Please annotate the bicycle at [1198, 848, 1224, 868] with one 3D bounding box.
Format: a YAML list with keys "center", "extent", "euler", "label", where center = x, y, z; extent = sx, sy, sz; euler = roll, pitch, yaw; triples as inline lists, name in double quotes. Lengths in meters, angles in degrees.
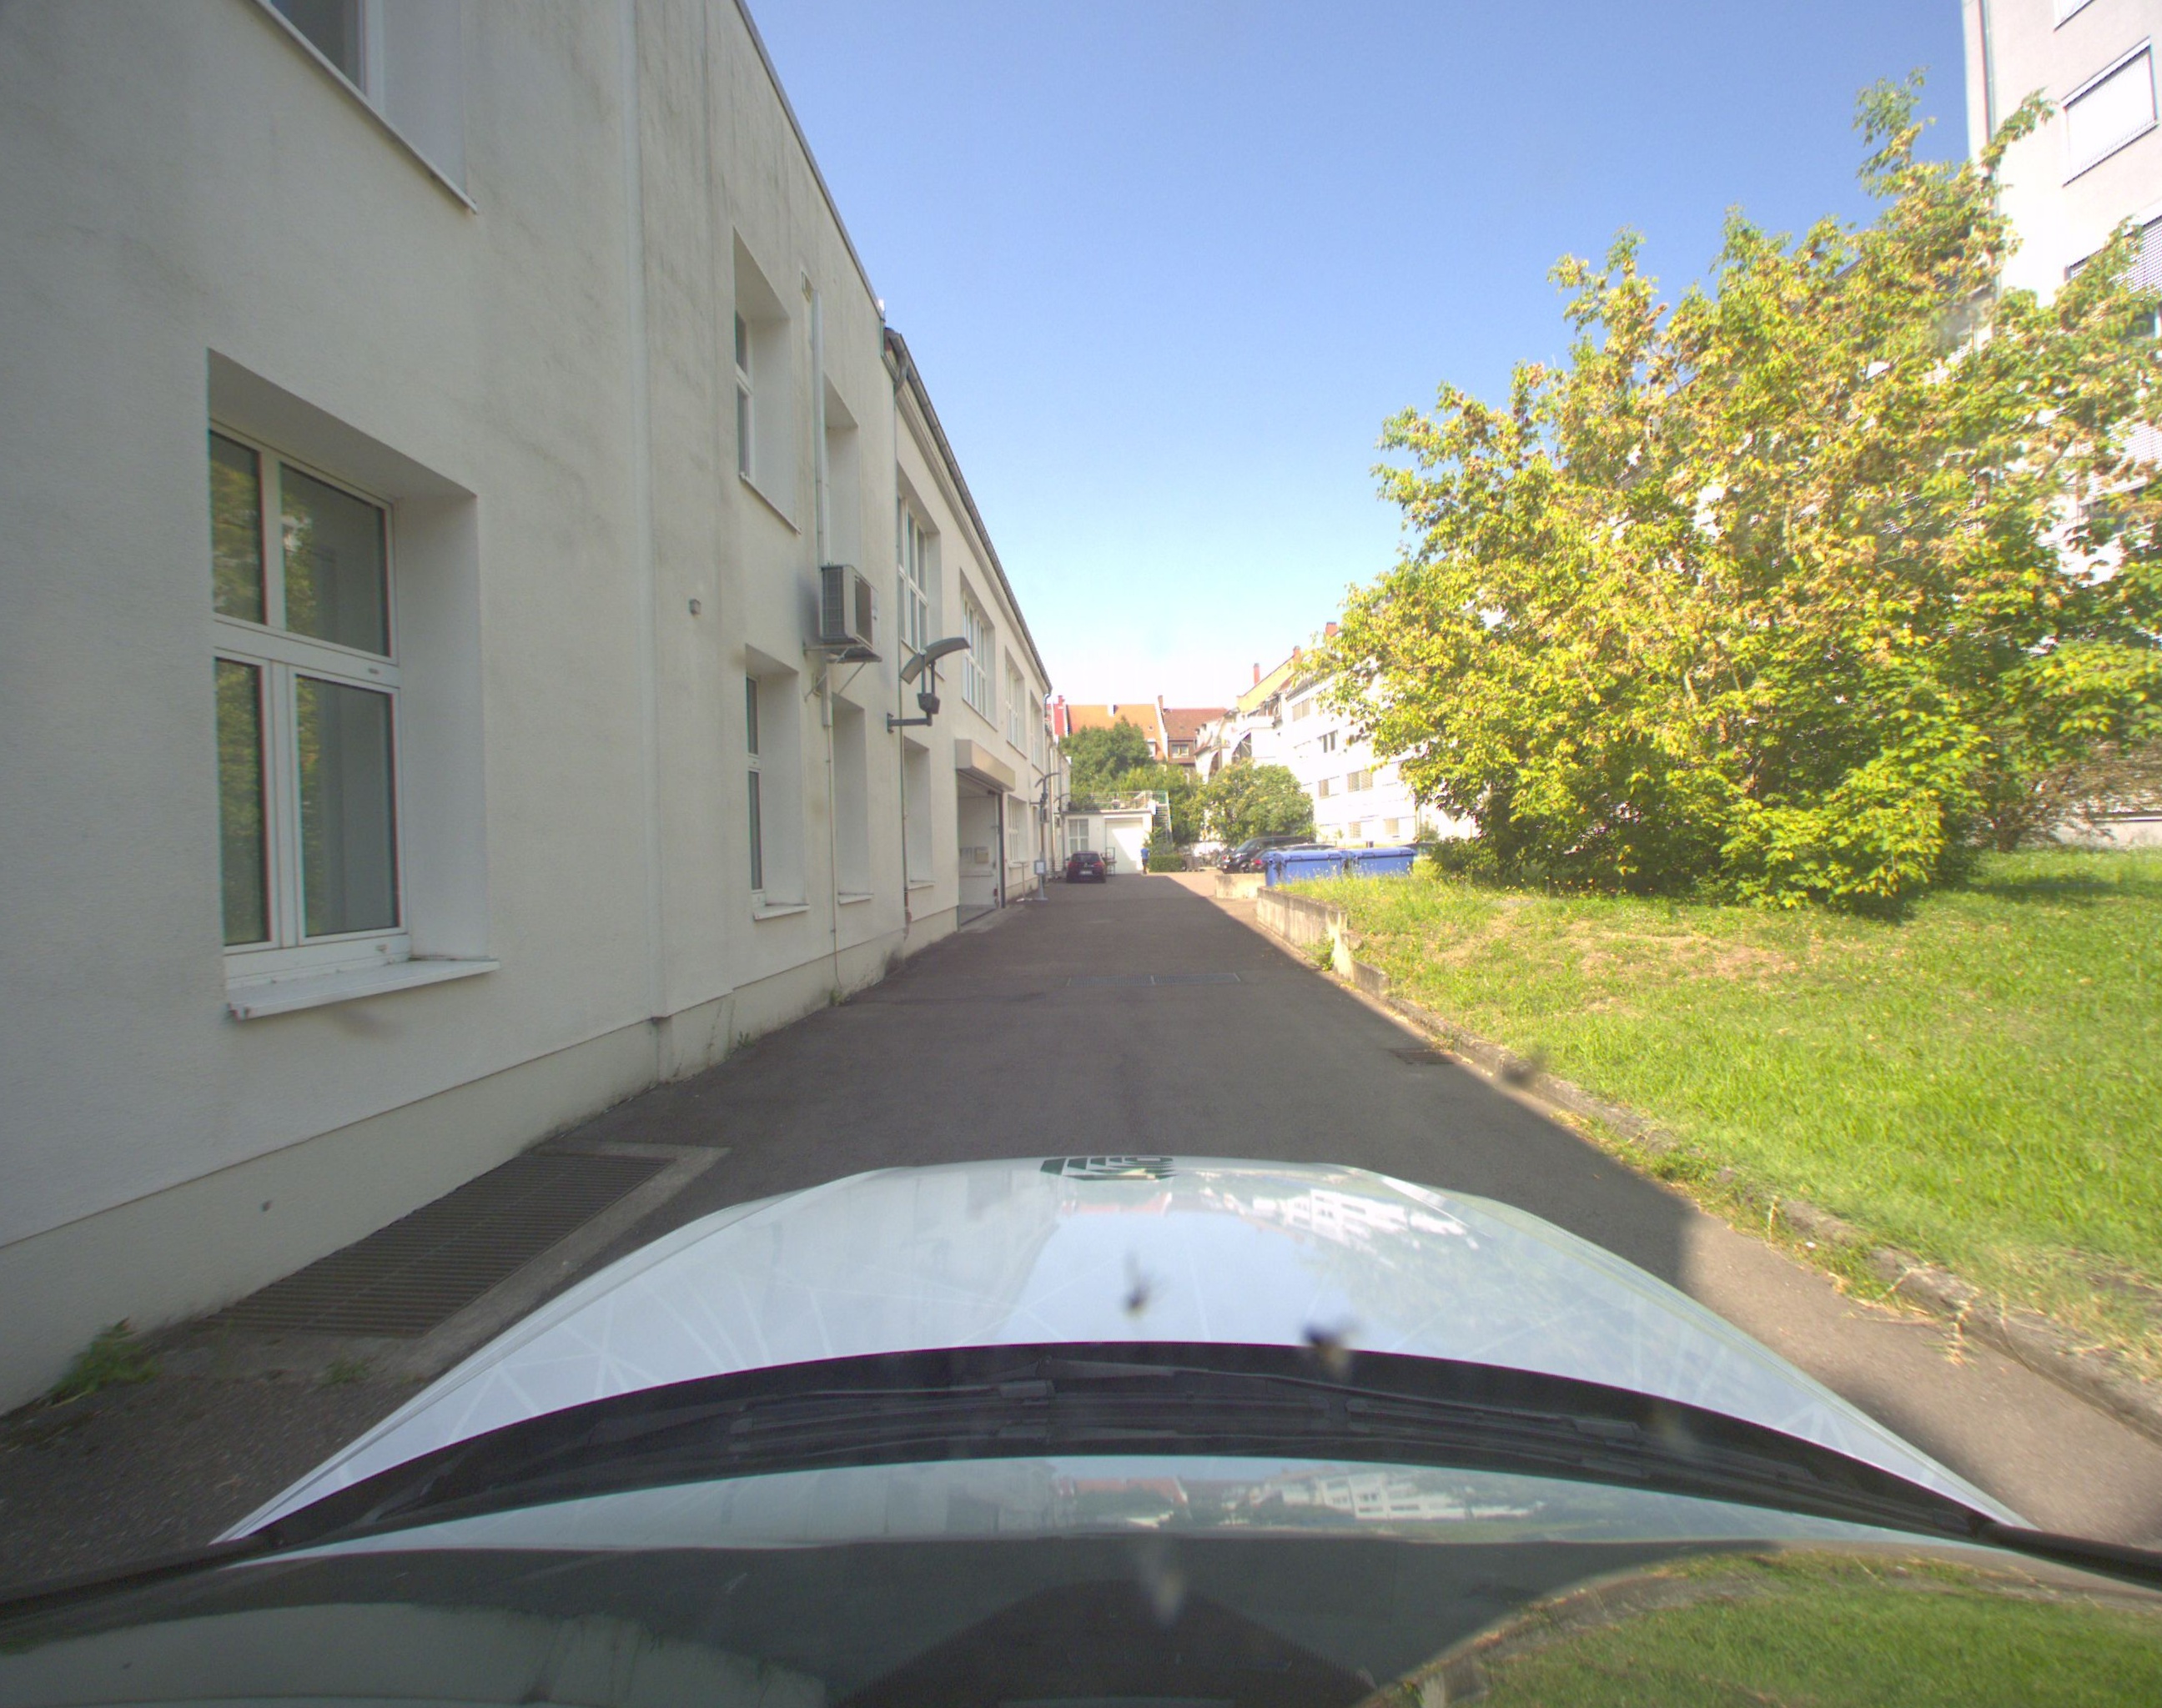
- center: [8.649, 0.270, 54.203]
  extent: [1.616, 1.214, 0.327]
  euler: [-2, 0, 4]
  label: "bicycle"

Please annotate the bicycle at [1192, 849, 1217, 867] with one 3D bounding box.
- center: [8.486, 0.282, 55.998]
  extent: [1.617, 1.214, 0.424]
  euler: [-2, 0, 2]
  label: "bicycle"

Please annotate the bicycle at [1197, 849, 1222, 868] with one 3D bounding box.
- center: [8.695, 0.272, 54.947]
  extent: [1.612, 1.214, 0.328]
  euler: [-2, 0, 12]
  label: "bicycle"

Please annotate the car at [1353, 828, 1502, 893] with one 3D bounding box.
- center: [10.295, 0.189, 24.405]
  extent: [3.606, 1.545, 1.803]
  euler: [-5, 0, 0]
  label: "car"

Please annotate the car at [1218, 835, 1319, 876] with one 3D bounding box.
- center: [9.237, 0.083, 40.259]
  extent: [4.495, 1.794, 1.879]
  euler: [-2, -1, -7]
  label: "car"

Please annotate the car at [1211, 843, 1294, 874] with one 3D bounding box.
- center: [9.063, 0.260, 43.155]
  extent: [3.928, 1.482, 1.770]
  euler: [-2, -1, -7]
  label: "car"

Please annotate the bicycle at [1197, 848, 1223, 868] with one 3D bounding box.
- center: [8.636, 0.272, 54.498]
  extent: [1.616, 1.214, 0.327]
  euler: [-2, 0, 4]
  label: "bicycle"

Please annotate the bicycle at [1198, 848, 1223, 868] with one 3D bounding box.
- center: [8.566, 0.270, 53.884]
  extent: [1.616, 1.214, 0.327]
  euler: [-2, 0, 4]
  label: "bicycle"

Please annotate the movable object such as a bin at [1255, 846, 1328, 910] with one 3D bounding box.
- center: [4.580, 0.513, 17.829]
  extent: [1.295, 1.340, 1.195]
  euler: [-1, 0, 2]
  label: "movable object such as a bin"

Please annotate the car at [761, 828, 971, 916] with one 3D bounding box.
- center: [-5.368, 0.410, 20.807]
  extent: [4.727, 2.092, 2.057]
  euler: [-1, 1, 2]
  label: "car"

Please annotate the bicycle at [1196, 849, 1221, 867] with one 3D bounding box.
- center: [8.637, 0.275, 55.314]
  extent: [1.611, 1.214, 0.328]
  euler: [-2, 0, 15]
  label: "bicycle"

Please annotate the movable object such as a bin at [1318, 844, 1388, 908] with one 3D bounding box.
- center: [5.897, 0.470, 17.733]
  extent: [1.228, 1.340, 1.119]
  euler: [-1, 0, 6]
  label: "movable object such as a bin"

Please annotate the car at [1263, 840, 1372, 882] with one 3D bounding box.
- center: [9.579, 0.289, 33.210]
  extent: [3.852, 1.589, 1.878]
  euler: [-1, 0, -3]
  label: "car"

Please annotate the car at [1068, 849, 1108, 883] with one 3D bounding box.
- center: [0.352, 0.532, 37.477]
  extent: [1.682, 1.459, 3.924]
  euler: [-1, 0, 1]
  label: "car"

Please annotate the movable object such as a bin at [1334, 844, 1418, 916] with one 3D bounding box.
- center: [5.774, 0.500, 16.017]
  extent: [1.223, 1.340, 1.076]
  euler: [-1, 0, -2]
  label: "movable object such as a bin"

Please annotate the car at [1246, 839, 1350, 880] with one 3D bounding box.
- center: [9.535, 0.224, 36.036]
  extent: [4.104, 1.691, 1.771]
  euler: [-1, 0, 0]
  label: "car"

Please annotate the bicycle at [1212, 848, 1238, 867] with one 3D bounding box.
- center: [9.689, 0.252, 54.805]
  extent: [1.610, 1.214, 0.328]
  euler: [-2, 0, 17]
  label: "bicycle"

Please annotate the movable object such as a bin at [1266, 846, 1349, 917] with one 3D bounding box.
- center: [4.450, 0.526, 16.078]
  extent: [1.305, 1.340, 1.100]
  euler: [-1, 0, -1]
  label: "movable object such as a bin"

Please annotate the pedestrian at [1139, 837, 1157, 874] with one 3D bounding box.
- center: [3.676, 0.097, 44.813]
  extent: [0.910, 2.014, 0.935]
  euler: [-1, -1, 3]
  label: "pedestrian"
